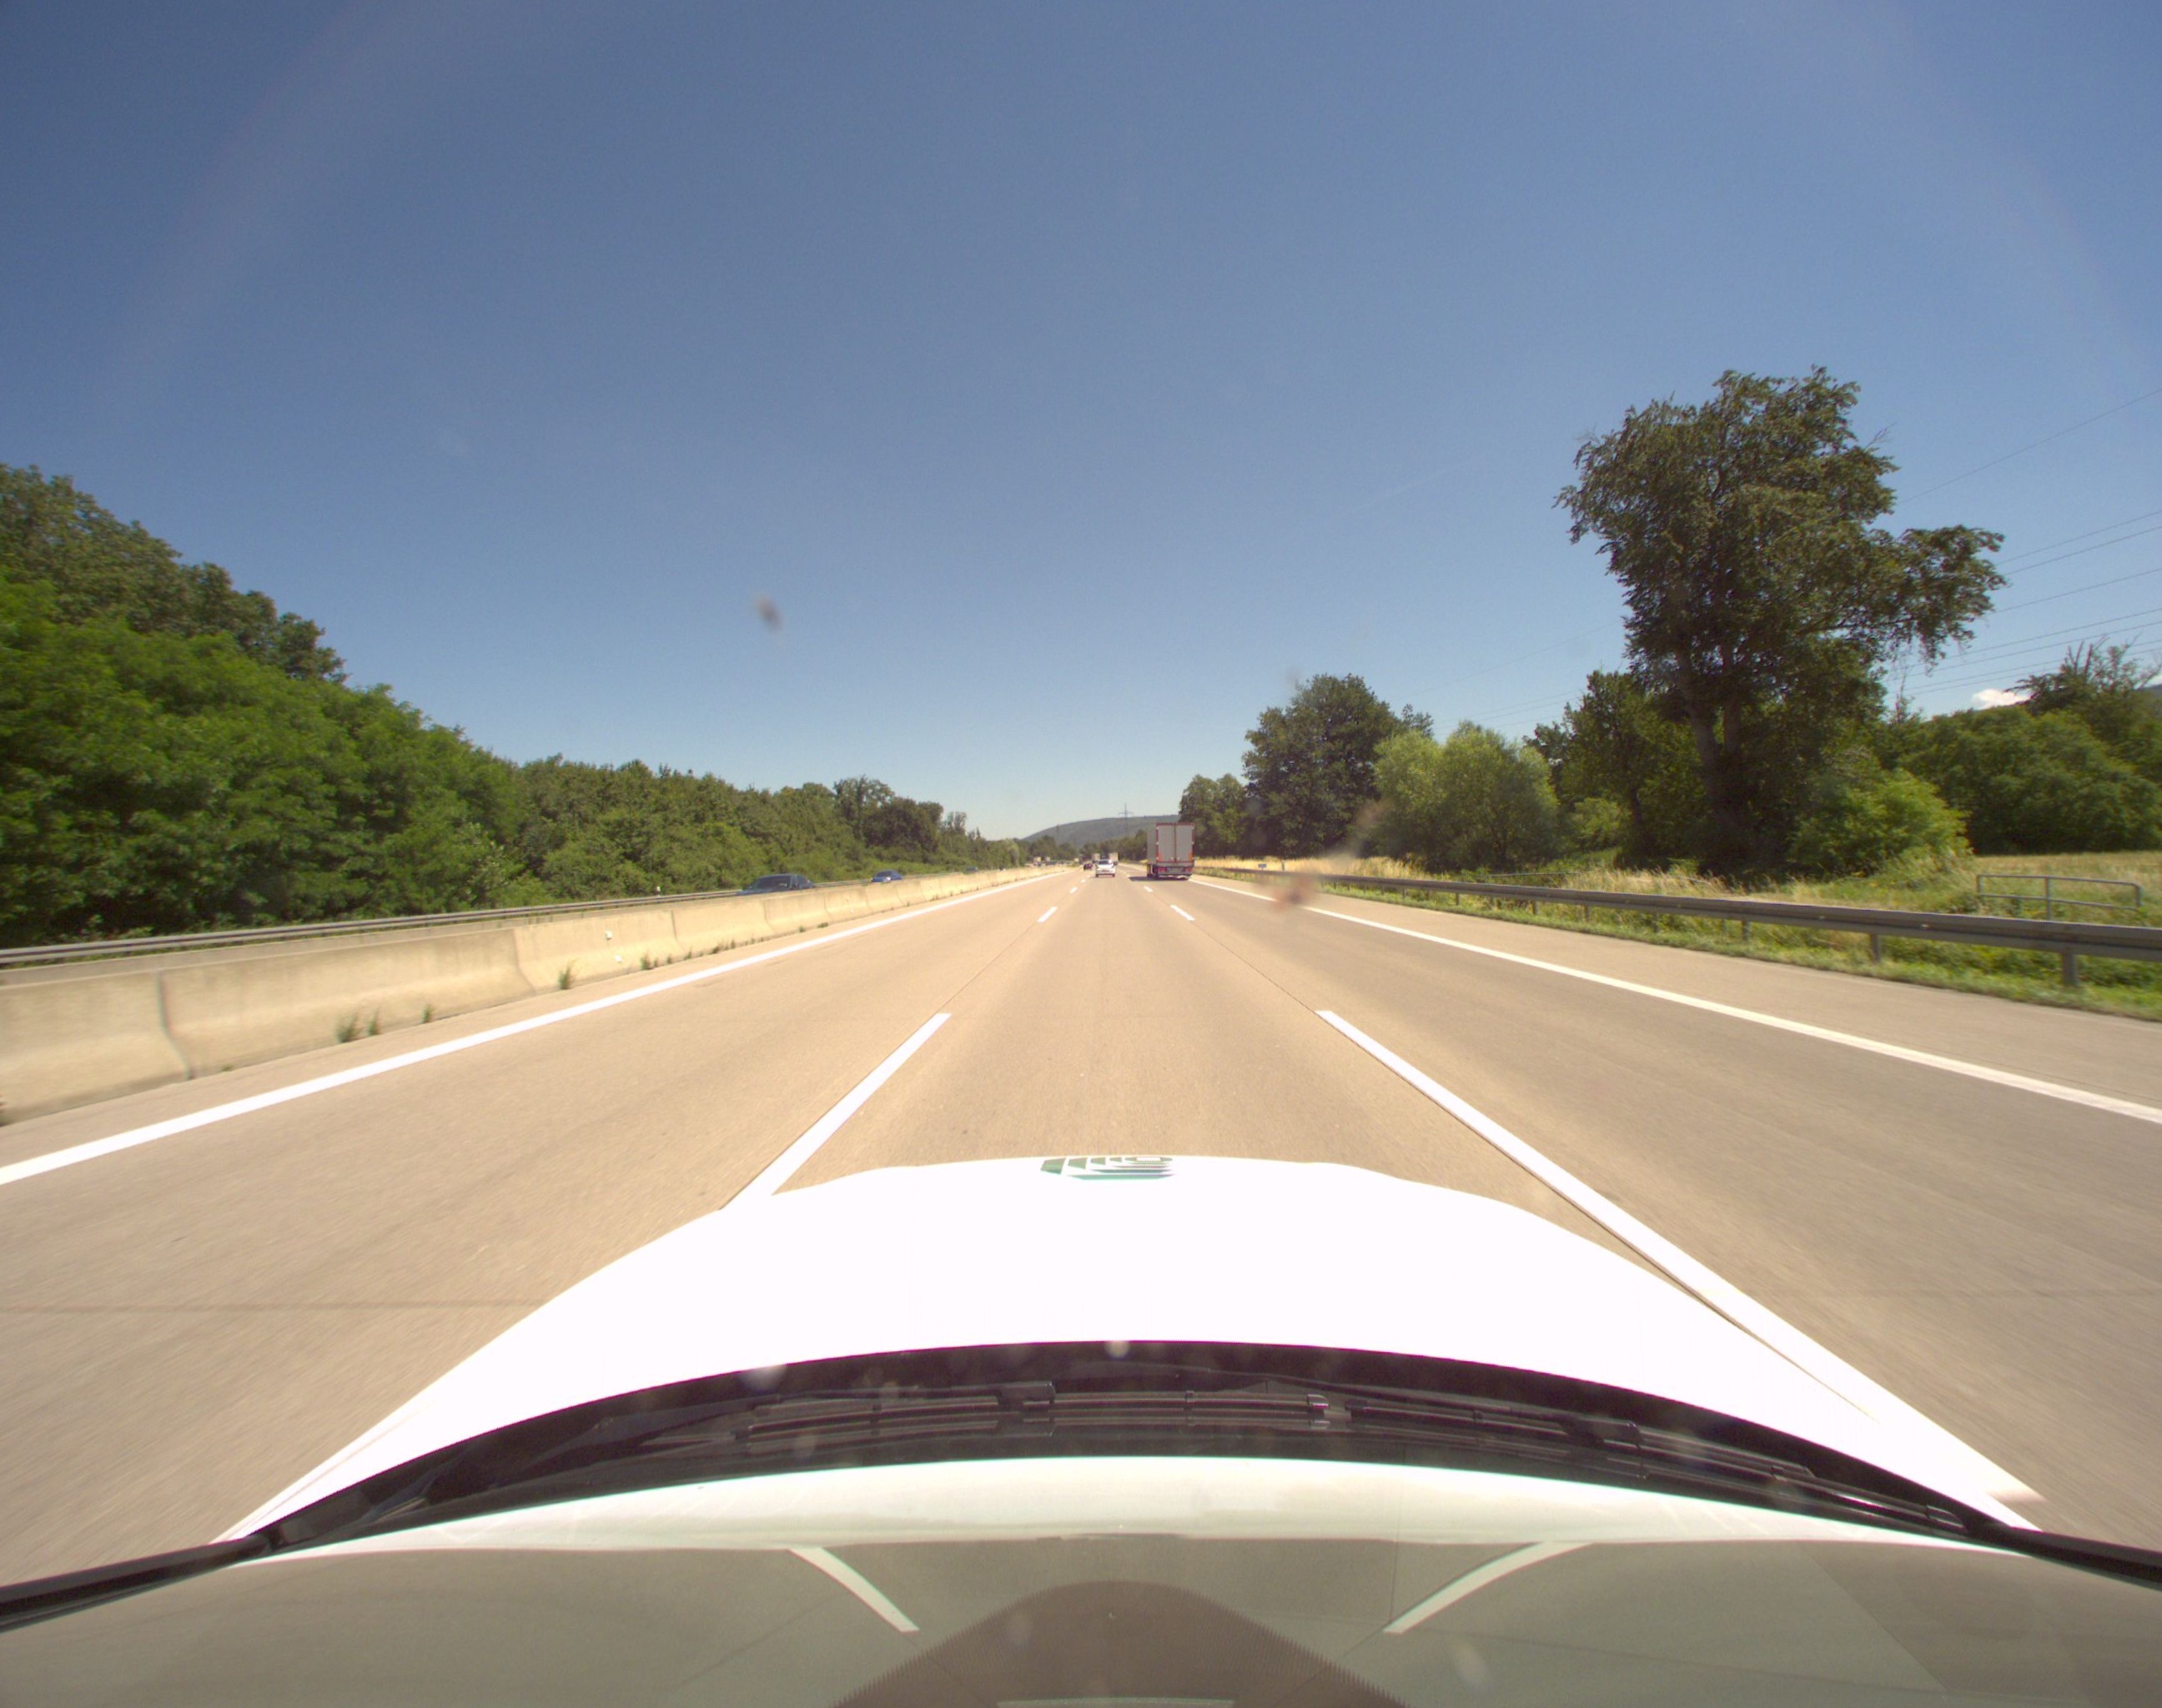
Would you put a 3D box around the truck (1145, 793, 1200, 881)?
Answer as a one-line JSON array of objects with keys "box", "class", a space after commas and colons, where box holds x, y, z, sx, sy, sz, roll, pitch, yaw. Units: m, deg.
[{"box": [6.839, -1.155, 63.742, 3.561, 5.787, 18.269, -2, 0, 4], "class": "truck"}]

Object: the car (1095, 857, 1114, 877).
[{"box": [2.037, 1.140, 71.406, 1.635, 1.662, 3.361, 0, 0, 2], "class": "car"}]

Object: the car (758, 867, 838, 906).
[{"box": [-11.416, 1.263, 33.151, 1.692, 1.417, 4.017, -1, 0, 2], "class": "car"}]

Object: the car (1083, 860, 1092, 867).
[{"box": [1.379, 2.065, 178.054, 2.016, 1.700, 3.998, 0, 0, -1], "class": "car"}]

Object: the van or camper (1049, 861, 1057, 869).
[{"box": [-7.478, 2.901, 216.913, 1.841, 1.882, 4.417, -2, -1, 1], "class": "van or camper"}]

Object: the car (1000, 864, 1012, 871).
[{"box": [-15.080, 2.661, 164.430, 1.920, 1.376, 4.002, -2, -1, 2], "class": "car"}]

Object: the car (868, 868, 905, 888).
[{"box": [-14.763, 1.808, 62.120, 1.703, 1.385, 4.508, -1, 0, 0], "class": "car"}]

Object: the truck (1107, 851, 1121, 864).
[{"box": [10.771, 1.071, 266.082, 3.808, 3.889, 14.150, -5, 0, 0], "class": "truck"}]
